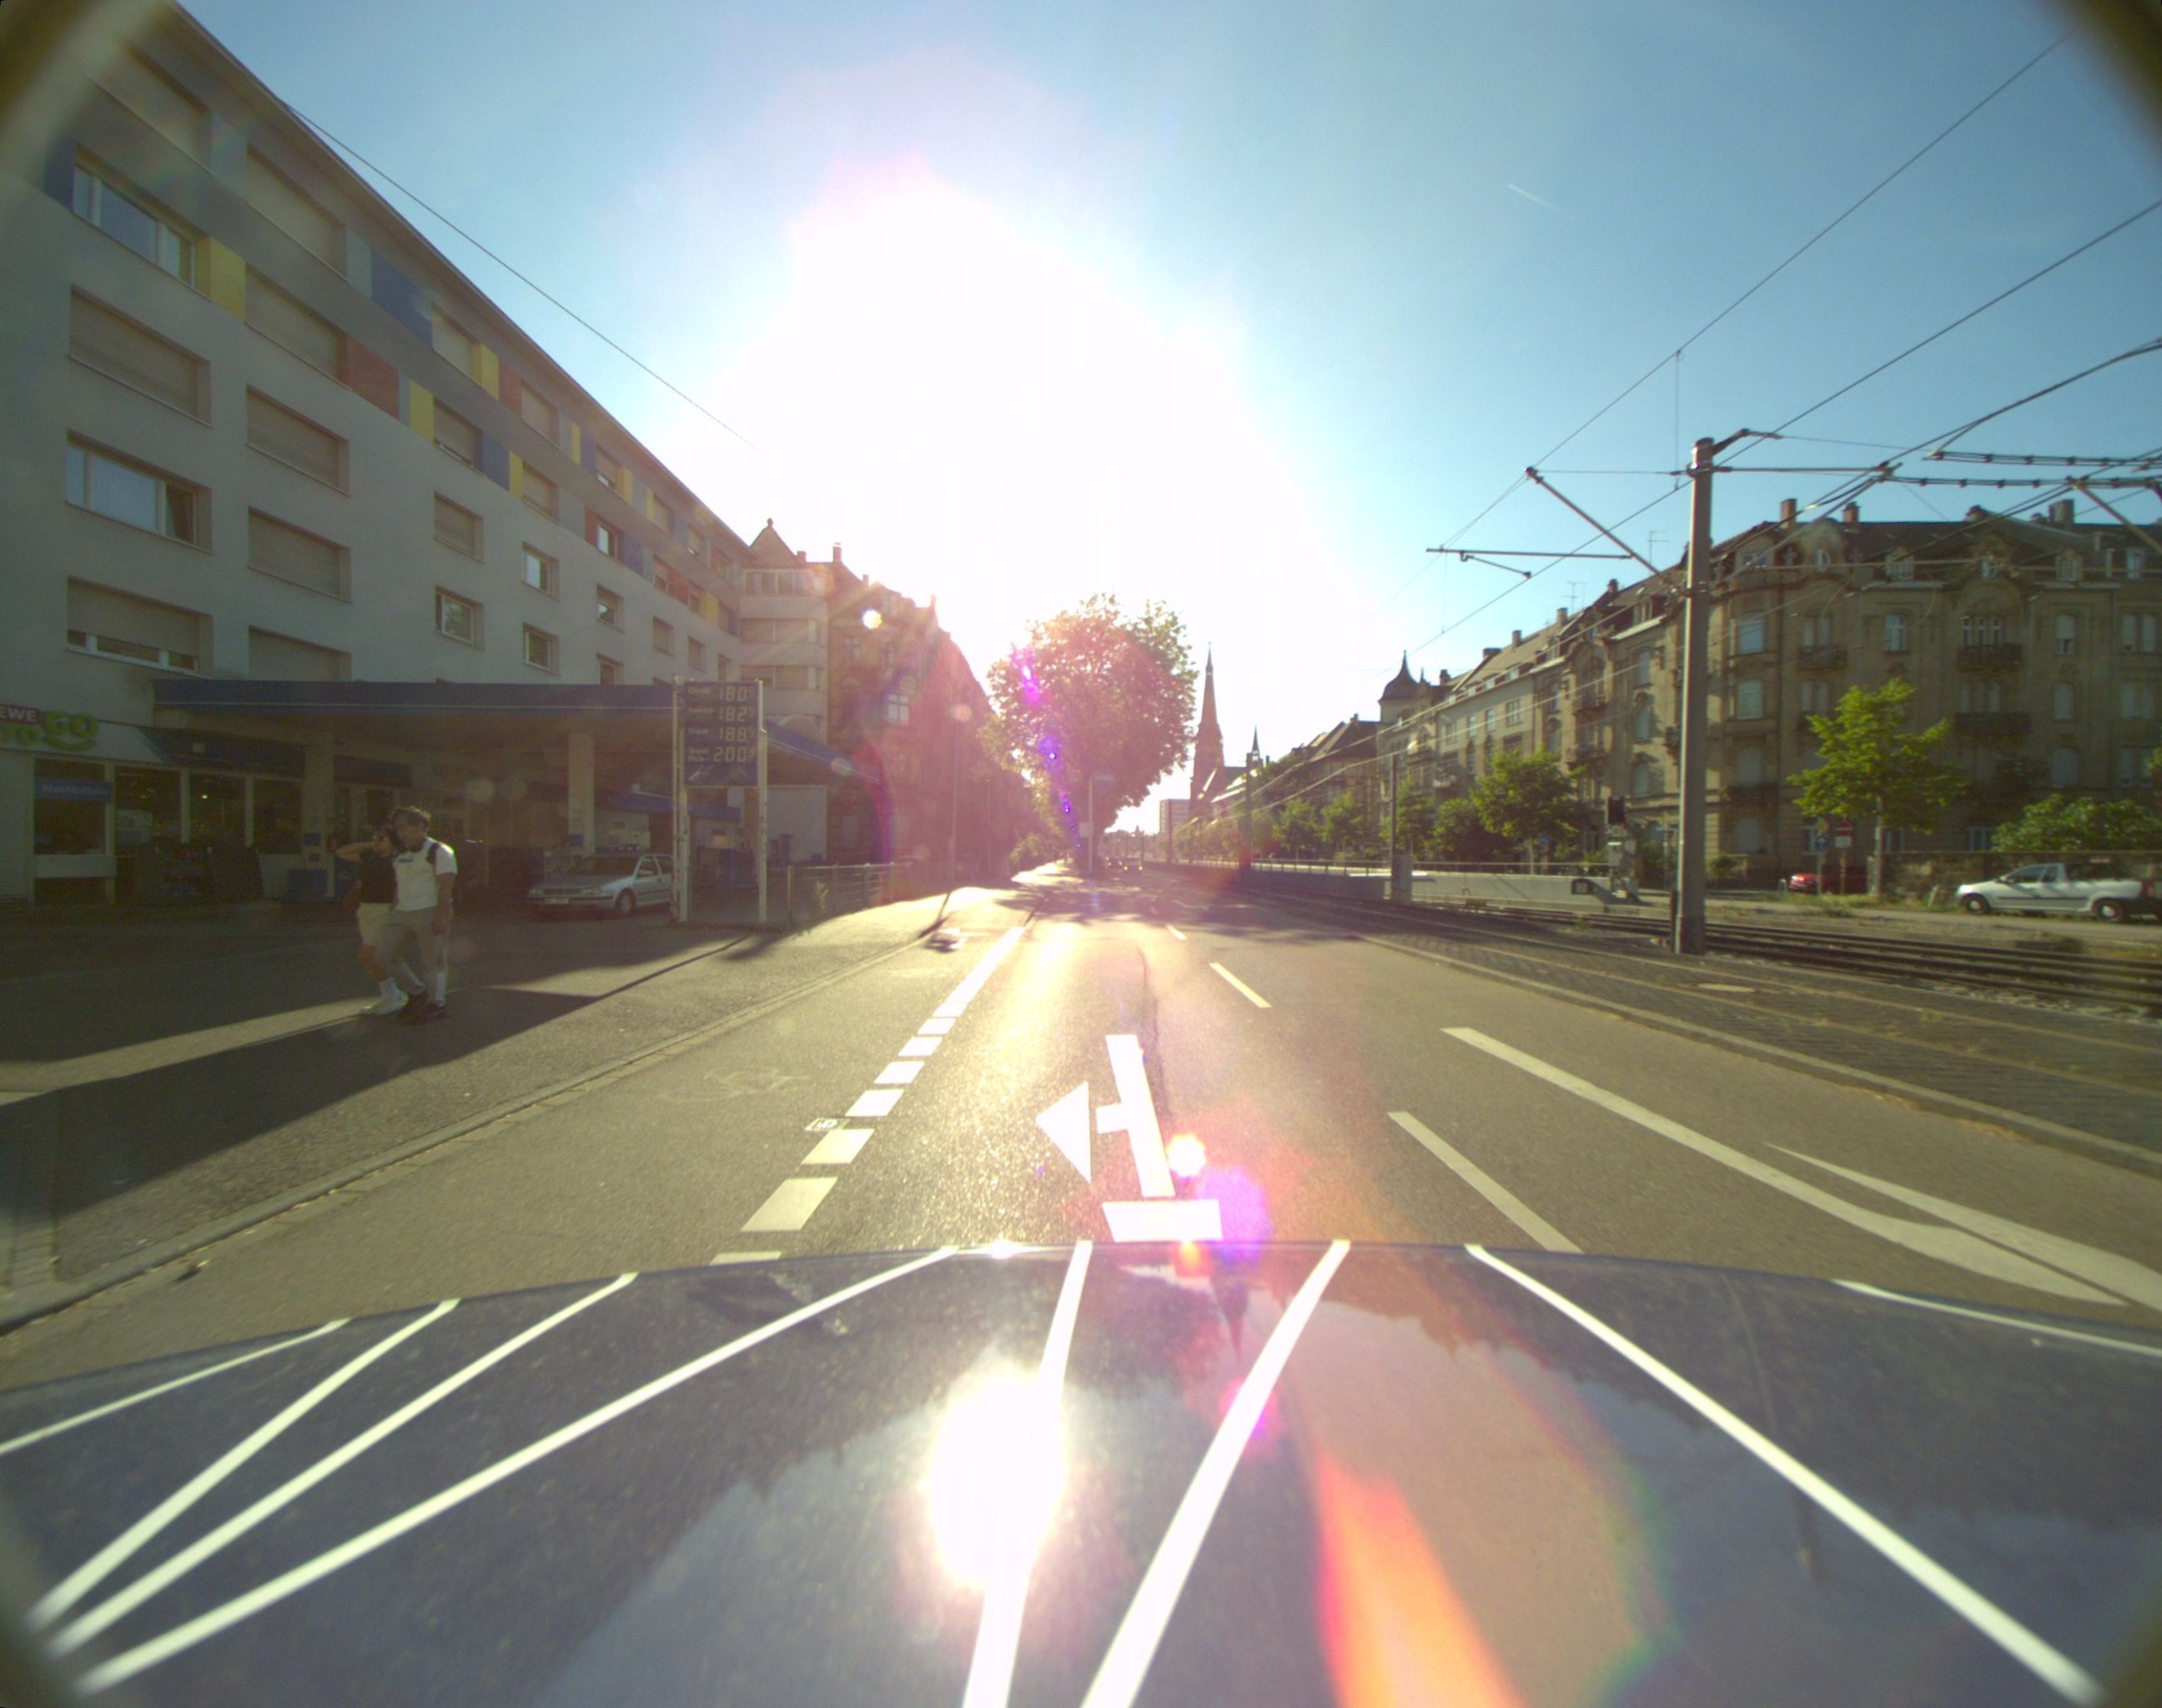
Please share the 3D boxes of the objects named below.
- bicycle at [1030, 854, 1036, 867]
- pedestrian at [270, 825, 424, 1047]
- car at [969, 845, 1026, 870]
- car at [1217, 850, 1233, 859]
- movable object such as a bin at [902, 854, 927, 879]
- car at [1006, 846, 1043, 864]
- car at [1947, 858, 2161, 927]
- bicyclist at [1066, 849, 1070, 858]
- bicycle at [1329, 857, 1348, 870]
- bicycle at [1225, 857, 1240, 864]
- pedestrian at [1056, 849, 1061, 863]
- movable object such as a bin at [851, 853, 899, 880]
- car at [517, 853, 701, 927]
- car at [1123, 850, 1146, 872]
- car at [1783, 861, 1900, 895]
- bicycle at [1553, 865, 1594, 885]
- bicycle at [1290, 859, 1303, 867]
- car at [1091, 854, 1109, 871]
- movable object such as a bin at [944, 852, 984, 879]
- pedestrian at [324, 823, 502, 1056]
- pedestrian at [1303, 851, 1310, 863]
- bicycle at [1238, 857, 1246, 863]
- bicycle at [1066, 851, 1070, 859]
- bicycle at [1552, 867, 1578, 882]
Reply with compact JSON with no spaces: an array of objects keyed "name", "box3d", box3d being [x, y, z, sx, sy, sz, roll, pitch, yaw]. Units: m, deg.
[{"name":"bicycle","box3d":[-4.494,0.601,71.252,0.338,1.242,1.767,-2,0,4]},{"name":"pedestrian","box3d":[-6.141,0.651,6.393,0.604,1.766,0.690,1,1,4]},{"name":"car","box3d":[-7.115,0.308,64.890,4.584,2.002,1.914,2,1,0]},{"name":"car","box3d":[26.027,0.117,137.468,1.837,1.576,3.999,-2,0,-2]},{"name":"movable object such as a bin","box3d":[-9.355,0.682,42.654,1.189,1.381,1.028,0,1,-2]},{"name":"car","box3d":[-6.794,0.096,91.796,4.187,2.002,1.999,3,0,-2]},{"name":"car","box3d":[26.622,0.931,20.362,1.720,1.546,4.510,-2,0,2]},{"name":"bicyclist","box3d":[-2.057,-0.102,120.522,0.544,1.372,0.644,-4,-1,-3]},{"name":"bicycle","box3d":[26.419,0.995,77.925,1.734,1.272,0.600,0,1,6]},{"name":"bicycle","box3d":[25.900,1.089,129.642,2.791,1.092,0.641,-2,1,-33]},{"name":"pedestrian","box3d":[-3.198,0.311,106.915,0.674,2.002,0.633,1,1,-1]},{"name":"movable object such as a bin","box3d":[-11.307,0.663,41.791,2.214,1.415,1.777,0,0,-4]},{"name":"car","box3d":[-10.258,0.704,16.904,1.571,1.422,4.098,0,0,-1]},{"name":"car","box3d":[5.013,0.694,70.665,1.822,1.727,4.004,-5,-3,6]},{"name":"car","box3d":[37.600,1.164,37.620,3.997,1.560,1.819,1,0,-2]},{"name":"bicycle","box3d":[26.531,1.123,40.985,0.487,1.016,1.889,-3,0,-24]},{"name":"bicycle","box3d":[29.715,1.220,104.658,0.456,1.000,1.939,-3,4,-31]},{"name":"car","box3d":[1.806,0.766,72.862,1.555,1.490,4.049,1,0,-1]},{"name":"movable object such as a bin","box3d":[-6.501,0.624,42.411,2.041,1.482,1.745,0,0,-4]},{"name":"pedestrian","box3d":[-5.503,0.659,6.315,0.604,1.766,0.879,4,1,4]},{"name":"pedestrian","box3d":[32.169,0.455,108.397,0.720,1.679,0.865,-2,1,6]},{"name":"bicycle","box3d":[26.441,0.917,124.557,1.271,0.900,0.538,-2,1,-30]},{"name":"bicycle","box3d":[-2.032,0.231,120.503,0.562,1.171,2.226,-3,-2,-2]},{"name":"bicycle","box3d":[29.795,1.256,46.802,0.417,0.795,1.888,-2,0,3]}]
